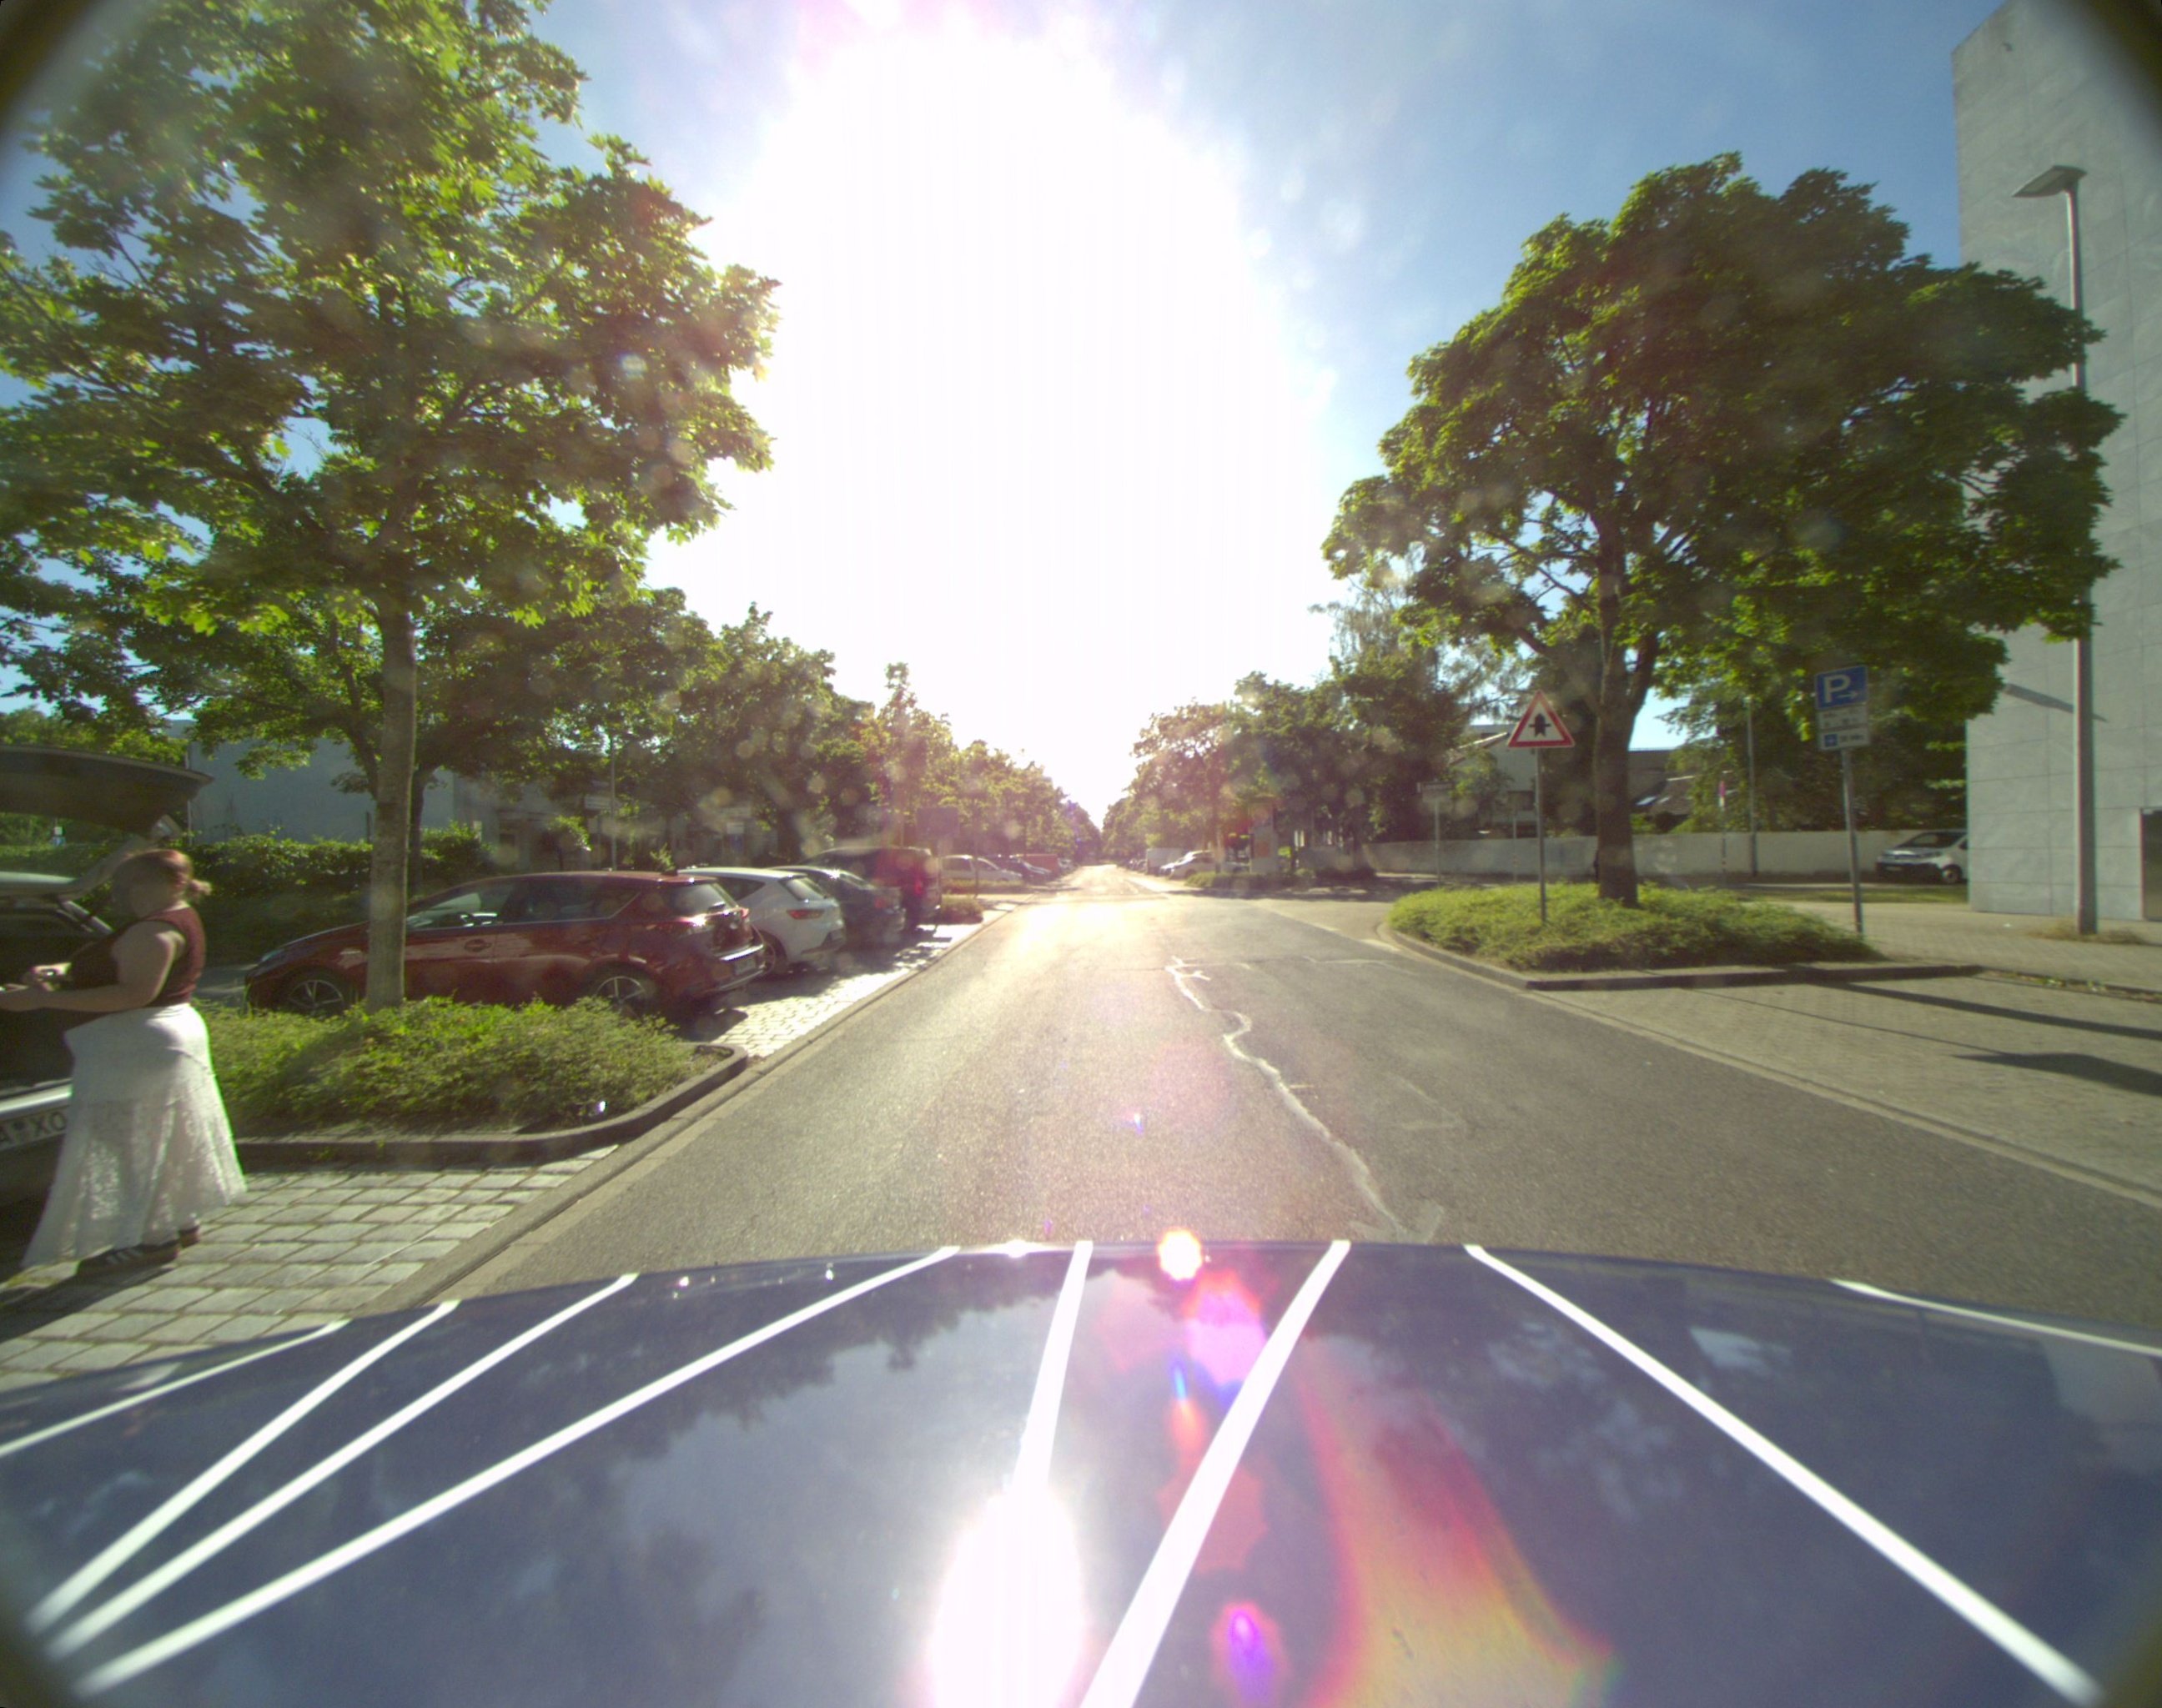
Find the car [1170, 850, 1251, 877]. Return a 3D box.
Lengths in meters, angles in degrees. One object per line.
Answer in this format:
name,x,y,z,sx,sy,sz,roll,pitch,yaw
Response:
car,7.939,0.588,46.925,4.684,1.398,1.829,-3,0,2

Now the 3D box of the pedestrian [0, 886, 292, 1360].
pedestrian,-3.752,0.927,2.890,0.766,1.570,0.673,-1,0,-5

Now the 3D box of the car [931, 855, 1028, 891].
car,-4.554,0.848,34.621,4.165,1.589,1.829,0,1,-1

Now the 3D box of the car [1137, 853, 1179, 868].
car,8.586,0.751,84.923,4.562,1.590,2.000,-1,-1,0

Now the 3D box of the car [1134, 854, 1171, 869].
car,9.161,0.985,97.379,4.562,1.819,2.000,-1,-1,0

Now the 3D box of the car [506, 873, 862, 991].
car,-5.203,0.992,10.373,3.909,1.428,1.808,0,0,-1

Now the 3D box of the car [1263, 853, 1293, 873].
car,17.186,0.750,66.462,1.833,1.605,4.145,0,0,5

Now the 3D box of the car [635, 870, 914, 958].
car,-5.222,1.009,13.393,4.165,1.398,1.829,0,1,-1

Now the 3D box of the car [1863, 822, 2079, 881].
car,30.820,-0.090,26.447,5.143,1.903,1.904,-1,1,2

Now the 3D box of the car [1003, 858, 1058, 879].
car,-3.502,1.021,53.425,3.784,1.465,1.768,0,1,-1

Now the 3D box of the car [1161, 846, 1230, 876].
car,8.209,0.518,54.583,4.632,1.979,2.000,-1,-1,0

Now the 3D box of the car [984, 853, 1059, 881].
car,-3.780,0.792,48.612,4.661,1.762,1.829,0,1,-1

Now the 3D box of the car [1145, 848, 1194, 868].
car,8.654,0.384,74.749,4.562,1.819,2.000,-1,-1,0

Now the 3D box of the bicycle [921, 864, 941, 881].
bicycle,-9.052,1.114,45.890,0.595,0.990,2.090,-1,-1,4

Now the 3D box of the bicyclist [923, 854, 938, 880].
bicyclist,-9.064,0.774,45.833,0.595,1.514,1.015,-1,-1,4

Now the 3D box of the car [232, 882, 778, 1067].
car,-5.226,1.057,7.309,3.909,1.418,1.672,-1,1,-1

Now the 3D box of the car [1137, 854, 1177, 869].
car,9.154,0.913,91.687,4.562,1.819,2.000,-1,-1,0

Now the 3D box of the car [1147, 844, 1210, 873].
car,8.325,0.370,65.124,5.131,2.364,2.000,-1,-1,0

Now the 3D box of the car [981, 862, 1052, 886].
car,-3.874,1.194,46.139,4.165,1.398,1.829,0,1,-1

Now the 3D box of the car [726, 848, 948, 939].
car,-5.125,0.800,16.371,4.165,1.836,1.880,0,1,1

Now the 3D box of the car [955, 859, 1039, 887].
car,-4.287,0.947,39.311,4.165,1.398,1.829,0,1,-1

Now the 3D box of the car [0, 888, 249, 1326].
car,-5.898,0.967,2.734,3.909,1.568,1.680,-1,-1,-1

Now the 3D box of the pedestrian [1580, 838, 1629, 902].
pedestrian,13.955,0.415,20.269,0.837,1.675,0.808,0,1,14

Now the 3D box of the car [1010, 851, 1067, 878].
car,-3.203,0.778,57.989,4.257,2.020,1.974,0,1,-1

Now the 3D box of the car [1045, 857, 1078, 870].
car,-2.574,1.194,99.171,4.257,1.706,1.974,0,1,-1

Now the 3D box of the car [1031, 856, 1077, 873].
car,-2.472,0.980,71.130,4.257,1.605,1.974,0,1,-1
